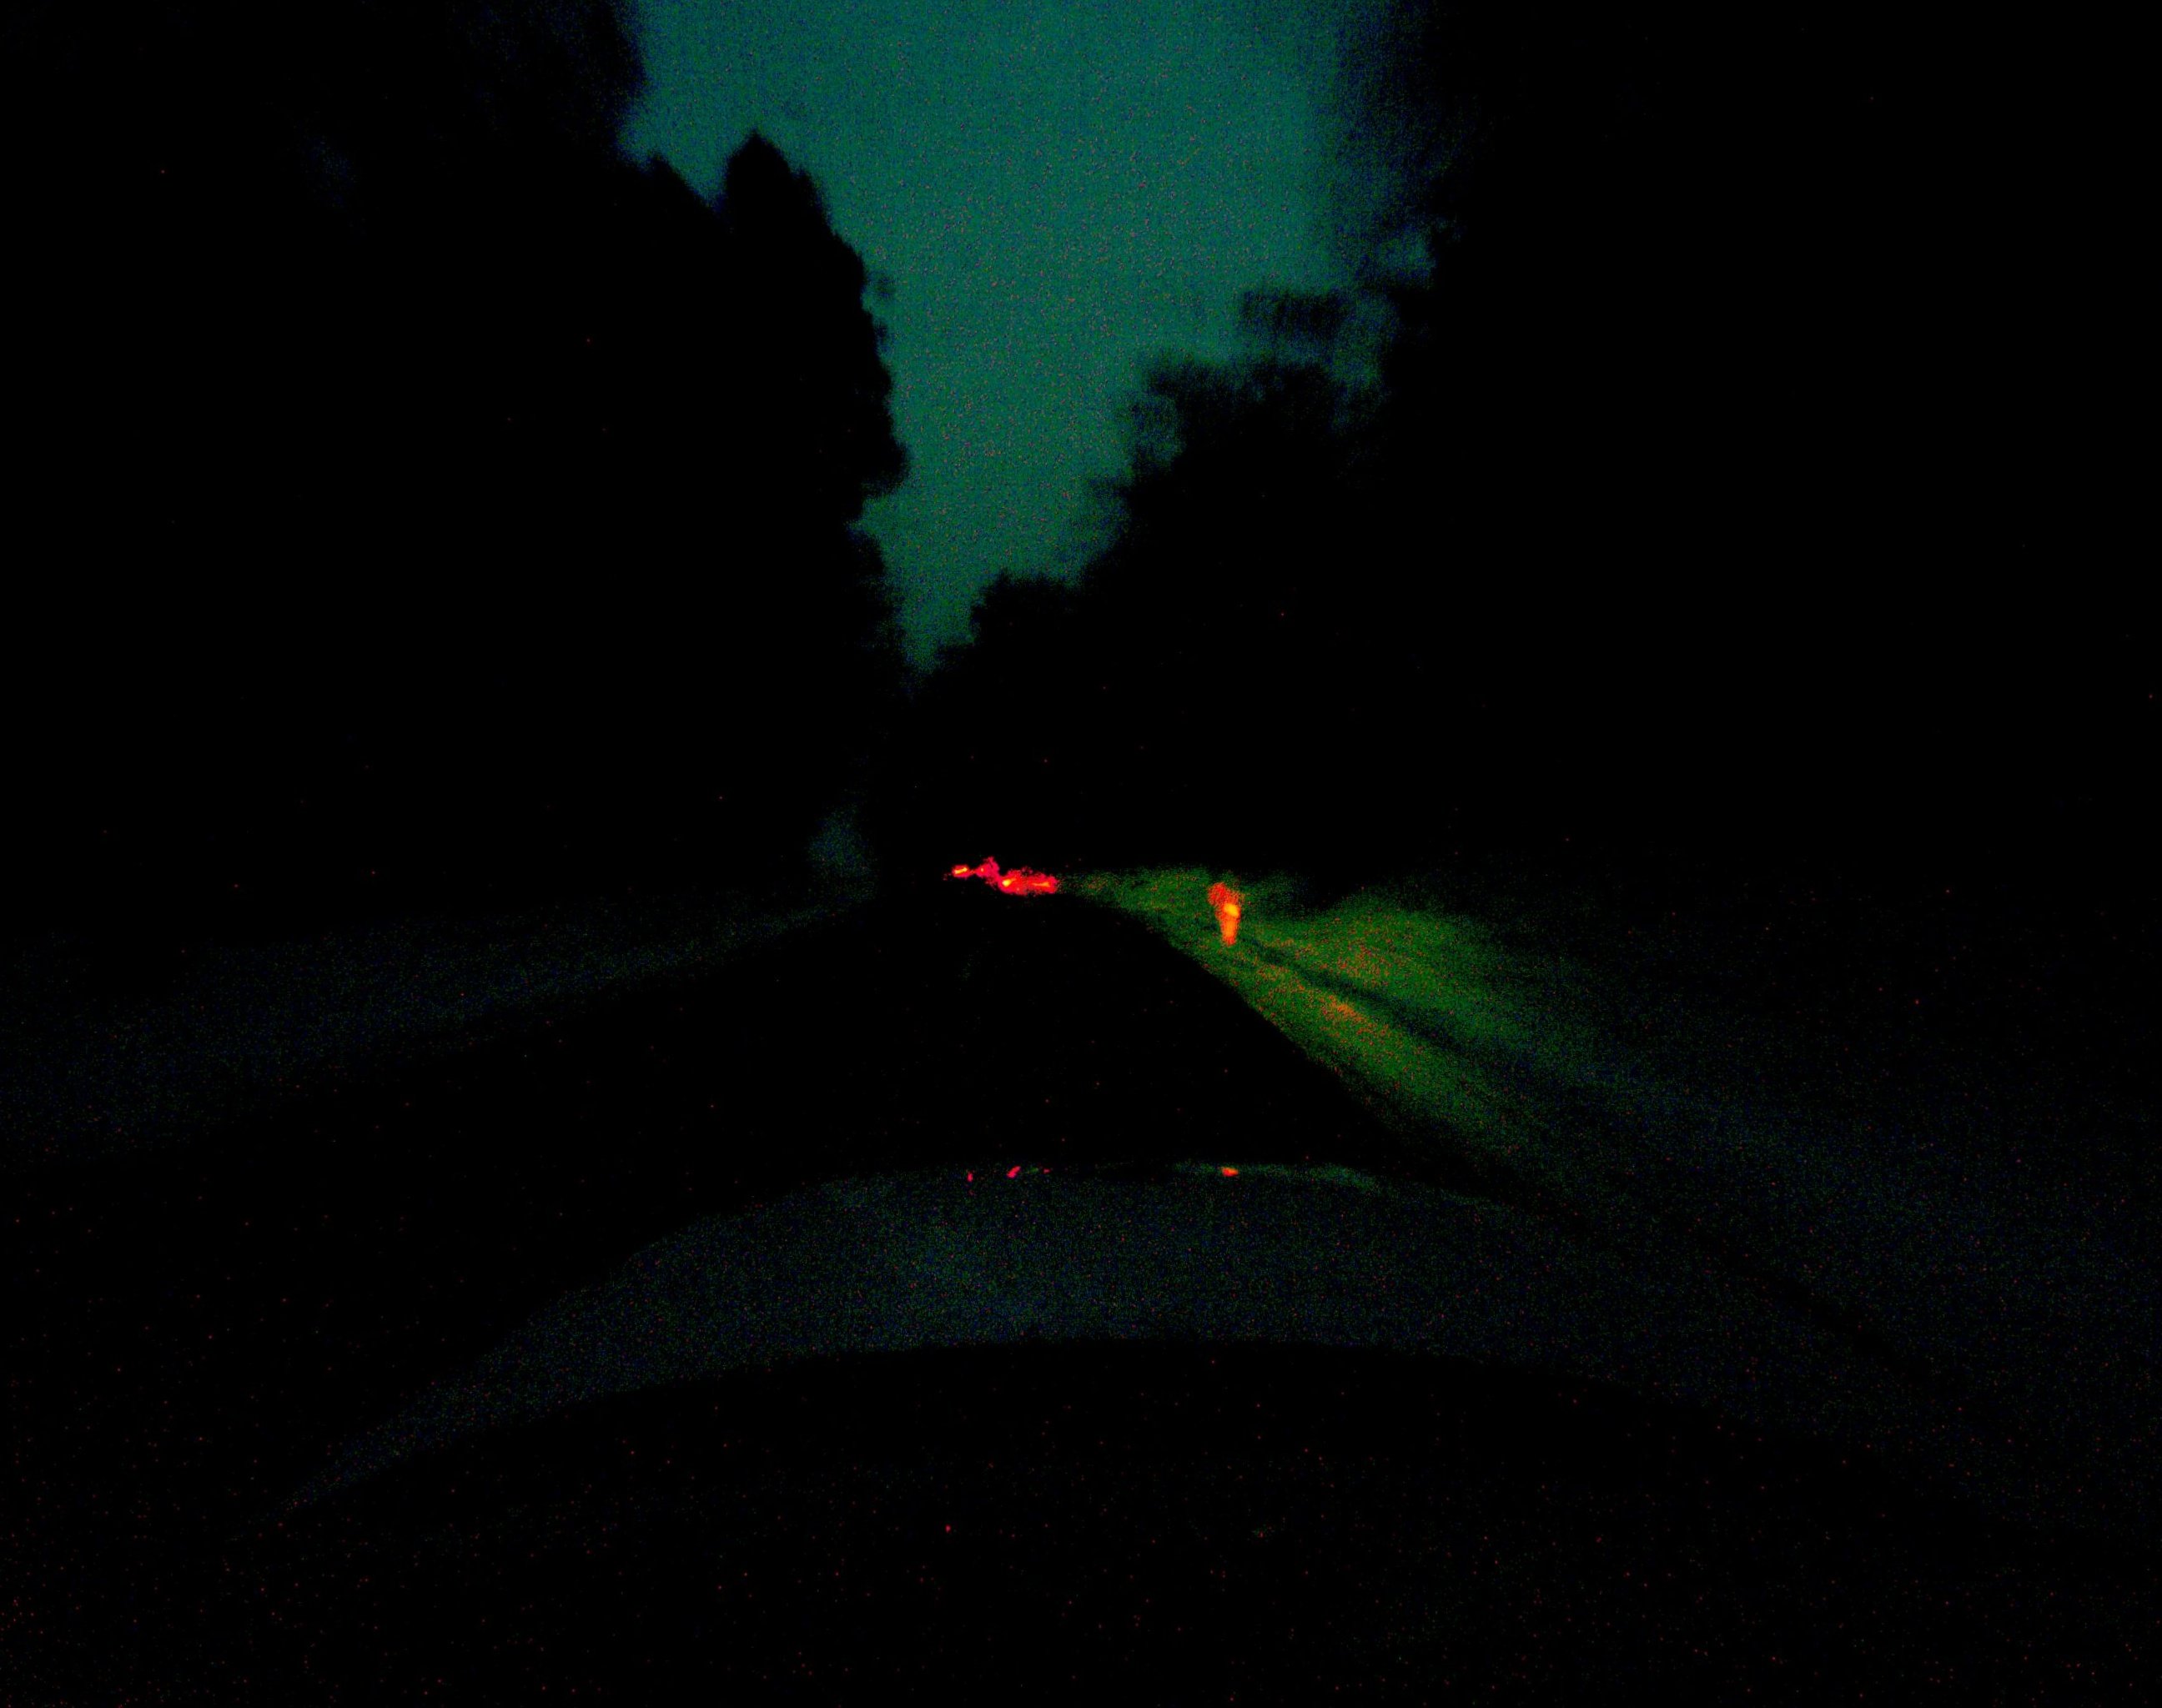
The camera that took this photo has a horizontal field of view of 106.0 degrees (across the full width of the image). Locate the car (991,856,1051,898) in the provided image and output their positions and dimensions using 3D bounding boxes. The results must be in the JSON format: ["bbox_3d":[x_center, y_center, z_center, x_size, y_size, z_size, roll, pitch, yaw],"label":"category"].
[{"bbox_3d":[-2.362,0.879,31.139,1.945,1.381,3.987,3,-2,-9],"label":"car"}]

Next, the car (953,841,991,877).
[{"bbox_3d":[-6.497,0.338,48.062,1.993,1.783,3.987,5,-3,-9],"label":"car"}]
